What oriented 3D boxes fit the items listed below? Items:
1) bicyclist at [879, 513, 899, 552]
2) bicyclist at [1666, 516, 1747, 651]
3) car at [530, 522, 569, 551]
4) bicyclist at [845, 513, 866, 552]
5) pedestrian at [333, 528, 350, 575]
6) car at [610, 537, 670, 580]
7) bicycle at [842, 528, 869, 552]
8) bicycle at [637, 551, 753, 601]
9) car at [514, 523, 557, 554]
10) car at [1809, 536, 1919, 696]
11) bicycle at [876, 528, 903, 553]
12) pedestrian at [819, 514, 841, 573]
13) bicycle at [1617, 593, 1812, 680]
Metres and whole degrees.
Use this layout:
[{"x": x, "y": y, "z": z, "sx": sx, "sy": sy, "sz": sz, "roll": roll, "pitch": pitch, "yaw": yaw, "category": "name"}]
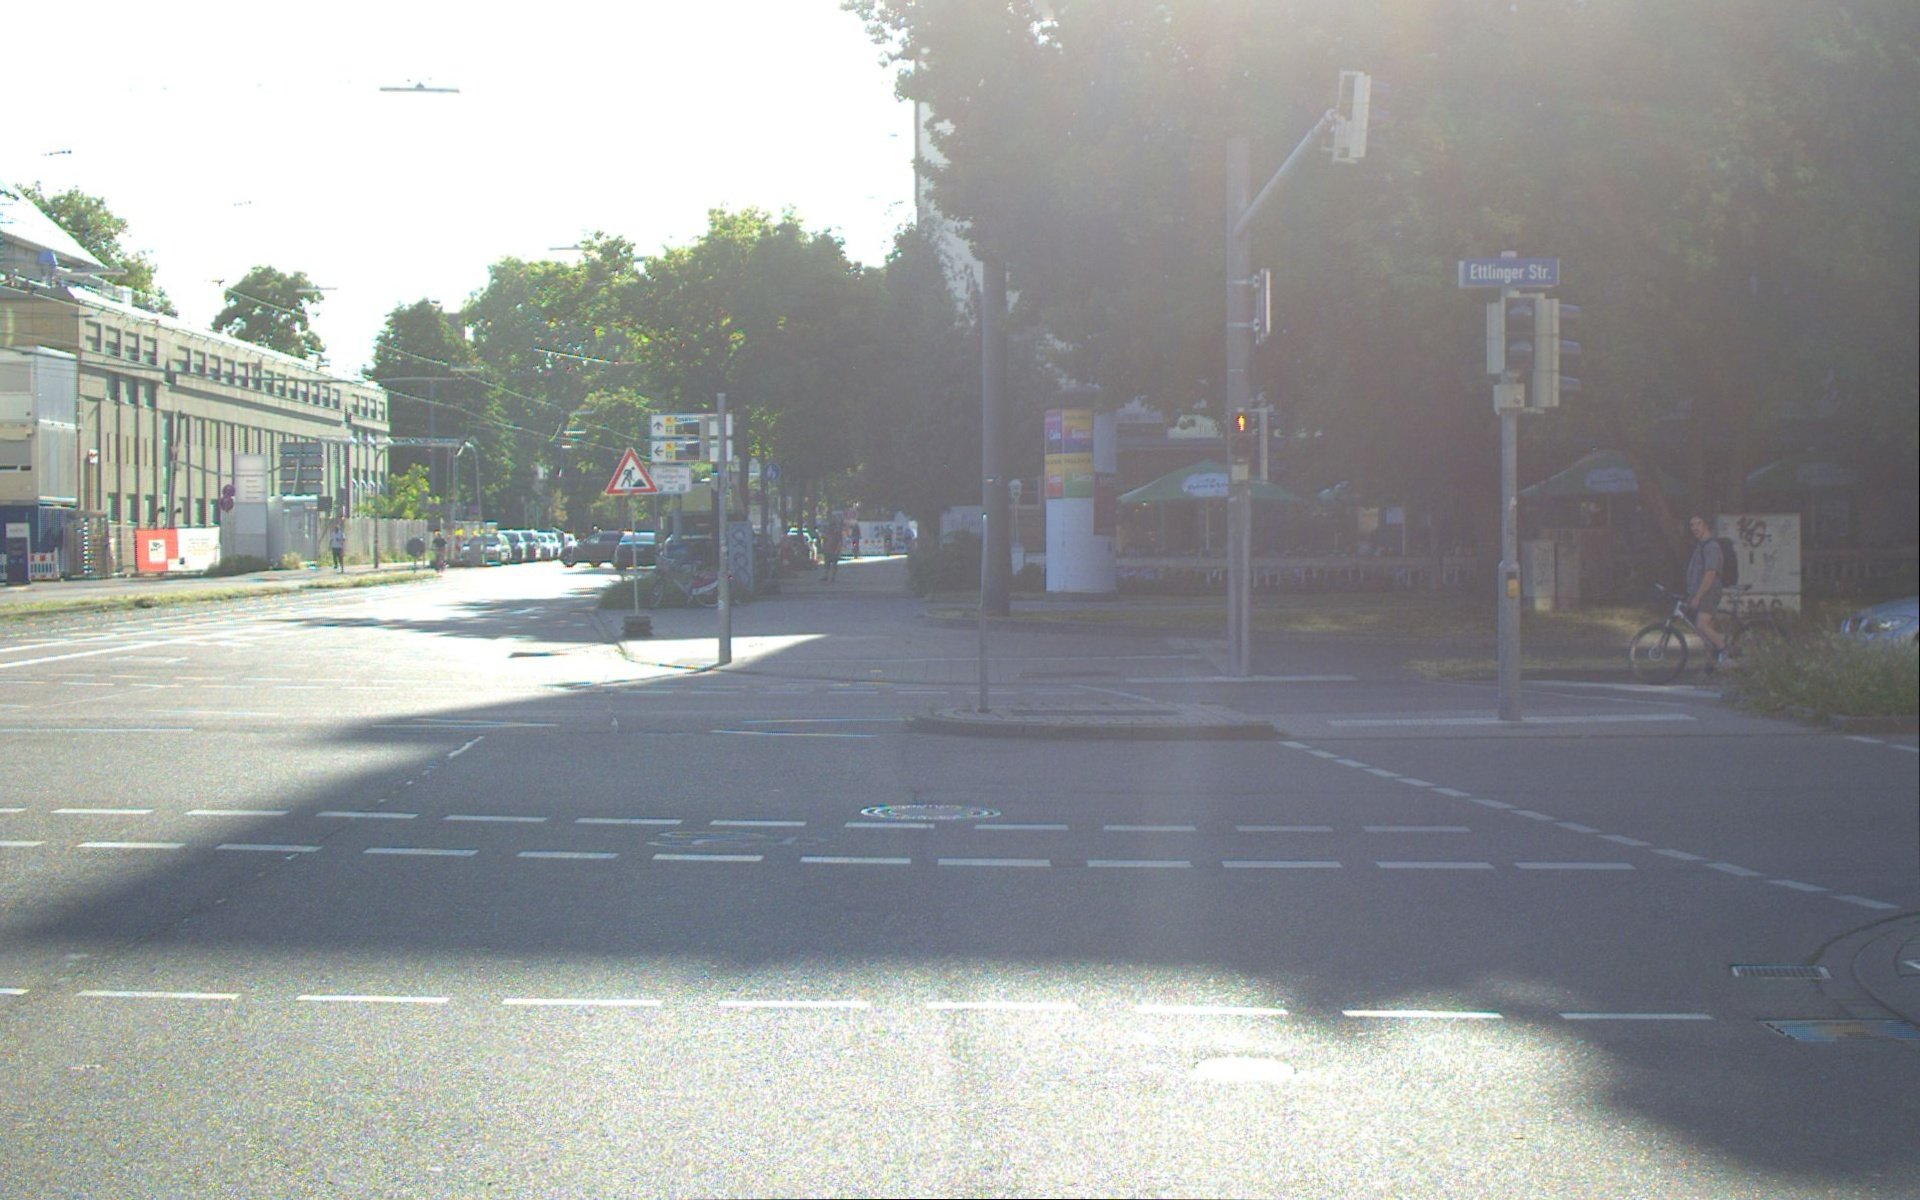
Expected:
[{"x": -3.662, "y": -3.462, "z": 177.427, "sx": 0.890, "sy": 2.007, "sz": 0.749, "roll": 1, "pitch": 0, "yaw": -12, "category": "bicyclist"}, {"x": 7.893, "y": -0.180, "z": 36.388, "sx": 0.747, "sy": 1.401, "sz": 0.702, "roll": 1, "pitch": 0, "yaw": 6, "category": "bicyclist"}, {"x": -23.244, "y": -3.606, "z": 194.701, "sx": 1.993, "sy": 1.638, "sz": 4.001, "roll": -1, "pitch": 1, "yaw": -4, "category": "car"}, {"x": -5.370, "y": -3.476, "z": 176.530, "sx": 0.890, "sy": 2.007, "sz": 0.749, "roll": 1, "pitch": 0, "yaw": -12, "category": "bicyclist"}, {"x": -25.169, "y": -1.978, "z": 139.942, "sx": 0.588, "sy": 1.883, "sz": 0.478, "roll": 1, "pitch": 0, "yaw": 0, "category": "pedestrian"}, {"x": -12.525, "y": -1.622, "z": 134.588, "sx": 1.993, "sy": 1.634, "sz": 4.000, "roll": 1, "pitch": 1, "yaw": -1, "category": "car"}, {"x": -5.389, "y": -3.080, "z": 176.557, "sx": 0.890, "sy": 1.215, "sz": 2.794, "roll": 1, "pitch": 1, "yaw": -12, "category": "bicycle"}, {"x": -5.189, "y": -0.469, "z": 67.223, "sx": 2.244, "sy": 0.937, "sz": 0.654, "roll": -1, "pitch": 1, "yaw": -5, "category": "bicycle"}, {"x": -21.999, "y": -3.197, "z": 178.272, "sx": 1.993, "sy": 1.600, "sz": 4.001, "roll": -1, "pitch": 1, "yaw": -4, "category": "car"}, {"x": 10.839, "y": 0.170, "z": 33.582, "sx": 4.576, "sy": 1.511, "sz": 2.000, "roll": 1, "pitch": 1, "yaw": 0, "category": "car"}, {"x": -3.653, "y": -3.064, "z": 177.293, "sx": 0.890, "sy": 1.215, "sz": 2.794, "roll": 1, "pitch": 1, "yaw": -12, "category": "bicycle"}, {"x": -3.695, "y": -1.608, "z": 97.676, "sx": 0.576, "sy": 1.683, "sz": 0.585, "roll": -1, "pitch": 1, "yaw": -8, "category": "pedestrian"}, {"x": 7.975, "y": 0.384, "z": 36.389, "sx": 1.944, "sy": 0.886, "sz": 0.718, "roll": 1, "pitch": 0, "yaw": 6, "category": "bicycle"}]
